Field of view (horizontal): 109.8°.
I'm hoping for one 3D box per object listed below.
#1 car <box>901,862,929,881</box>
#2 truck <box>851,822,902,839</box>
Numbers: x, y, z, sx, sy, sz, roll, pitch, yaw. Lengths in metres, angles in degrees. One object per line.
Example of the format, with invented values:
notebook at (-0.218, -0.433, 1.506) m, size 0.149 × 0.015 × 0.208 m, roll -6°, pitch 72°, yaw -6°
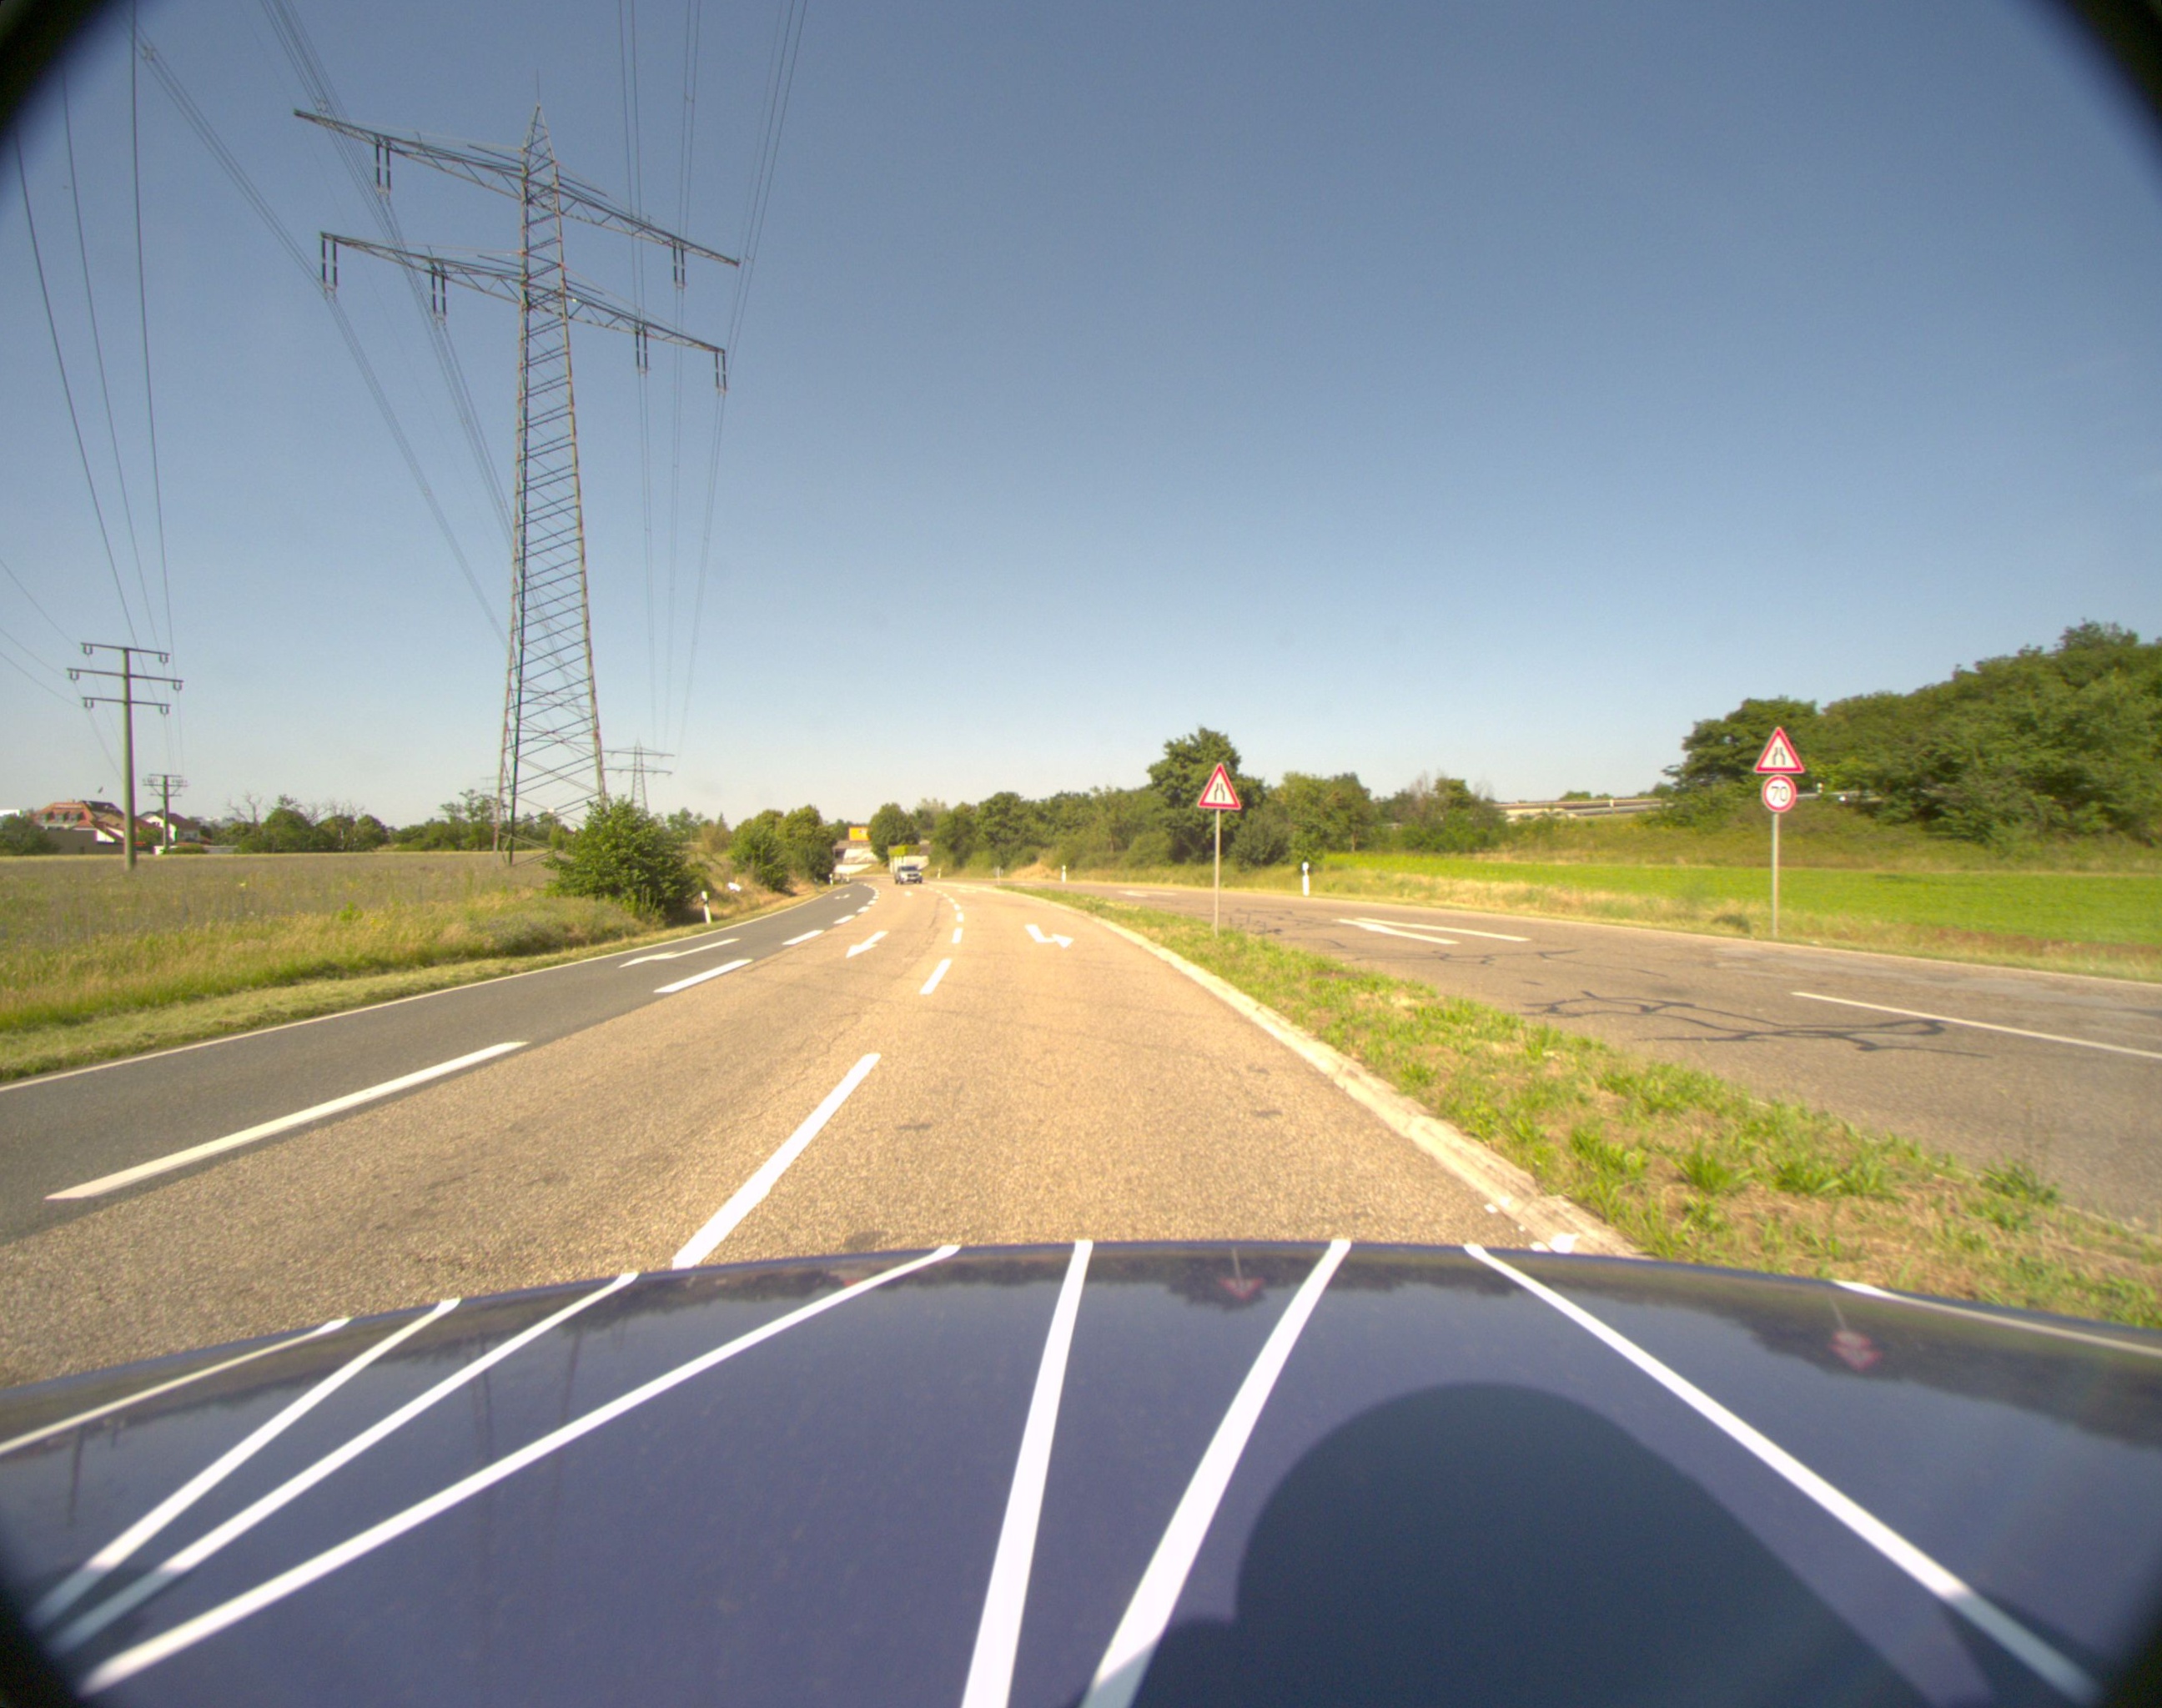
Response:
car at (-14.447, 1.515, 65.985) m, size 1.862 × 1.609 × 3.642 m, roll -2°, pitch 0°, yaw -20°
truck at (-44.135, -4.999, 163.980) m, size 11.259 × 3.165 × 2.165 m, roll -2°, pitch 1°, yaw 20°
